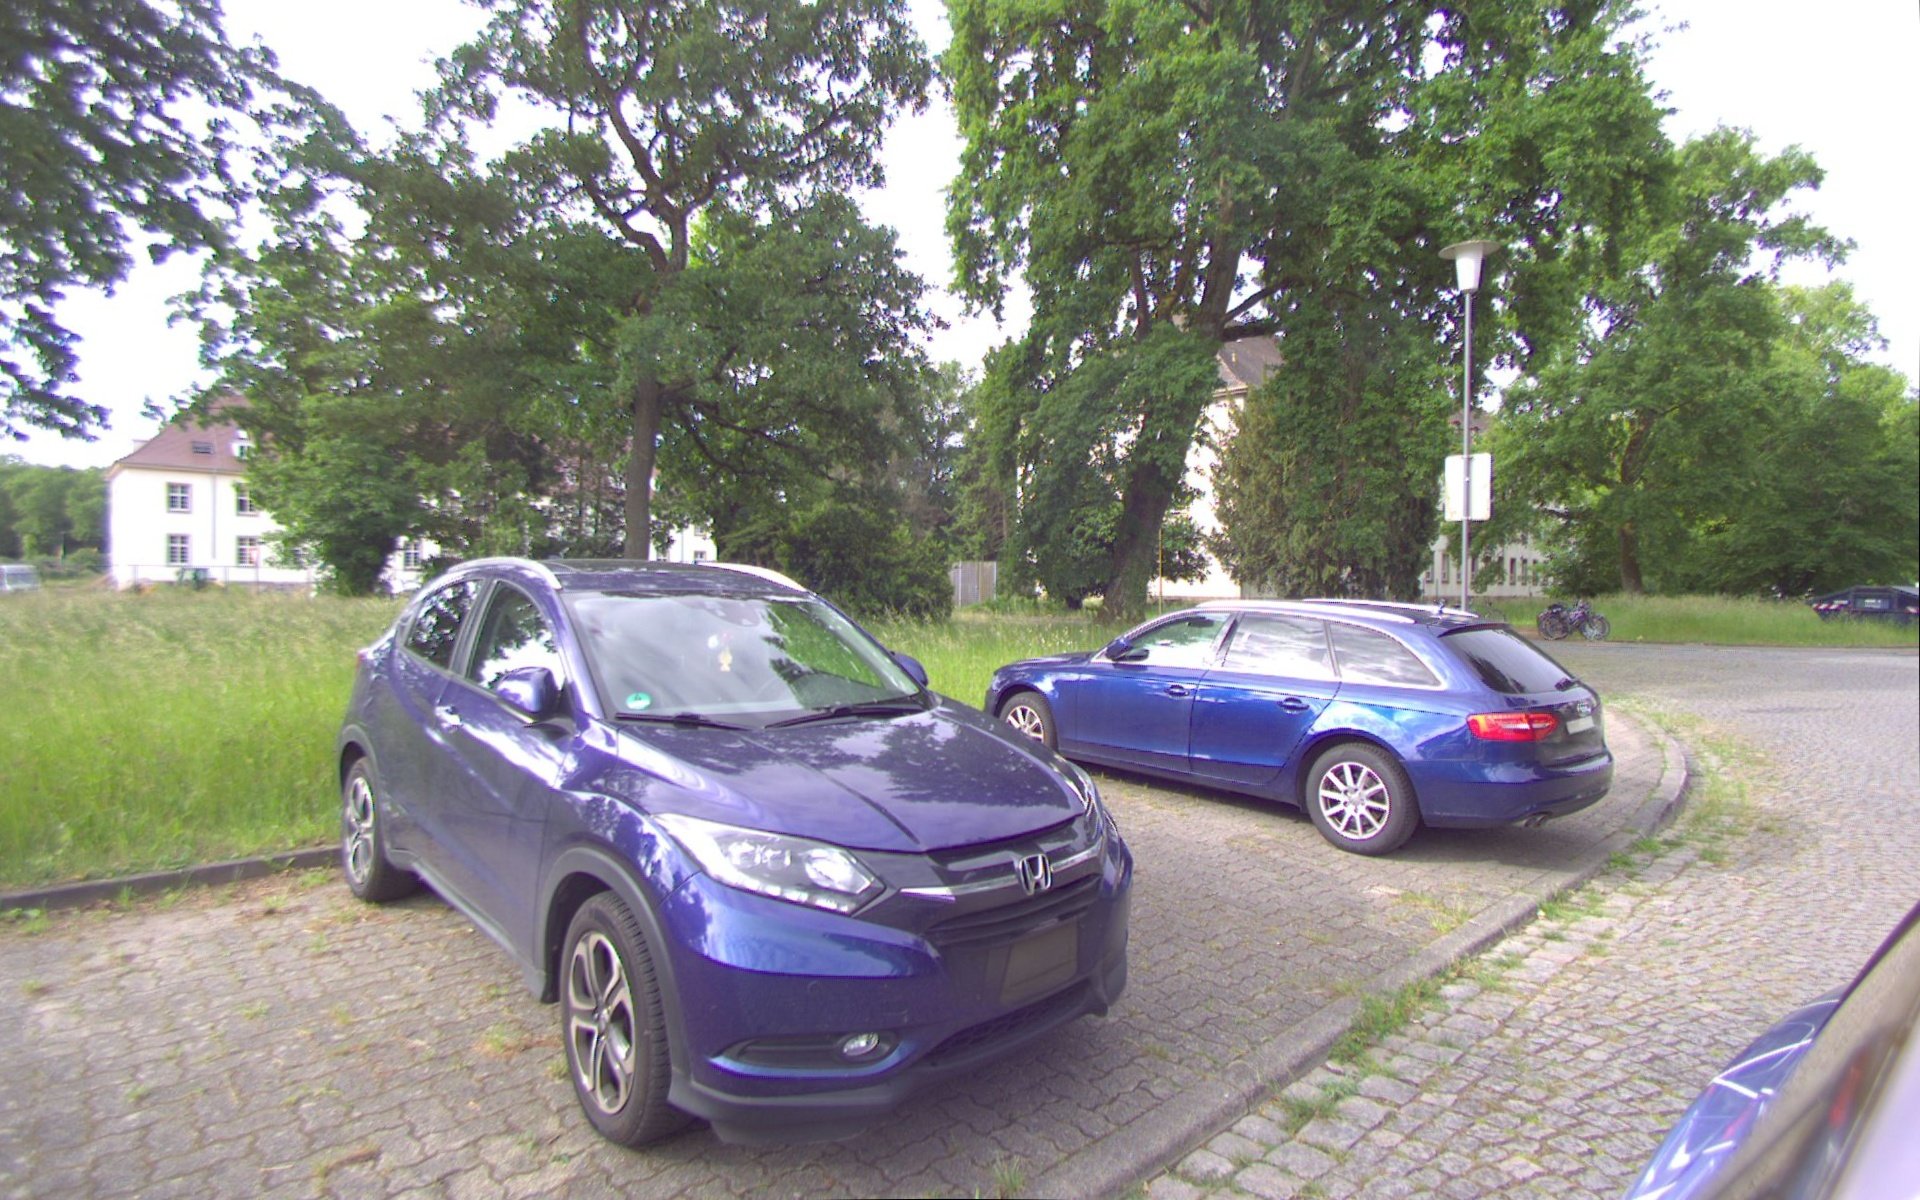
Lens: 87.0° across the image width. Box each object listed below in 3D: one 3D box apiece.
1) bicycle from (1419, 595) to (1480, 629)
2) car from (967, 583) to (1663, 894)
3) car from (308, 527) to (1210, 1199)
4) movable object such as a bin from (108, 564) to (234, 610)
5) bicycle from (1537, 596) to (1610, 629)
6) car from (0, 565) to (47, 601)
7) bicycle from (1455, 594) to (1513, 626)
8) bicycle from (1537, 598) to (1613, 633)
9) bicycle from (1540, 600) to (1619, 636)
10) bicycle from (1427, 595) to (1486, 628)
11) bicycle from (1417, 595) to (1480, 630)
[{"bbox_3d":[16.557,0.403,34.289,1.837,1.137,0.617,0,0,24],"label":"bicycle"},{"bbox_3d":[2.173,0.658,7.329,1.753,1.439,4.480,0,2,-40],"label":"car"},{"bbox_3d":[-1.239,0.586,4.214,1.763,1.591,4.167,-2,2,-43],"label":"car"},{"bbox_3d":[-48.185,-0.791,62.023,5.860,2.688,2.177,-1,0,-31],"label":"movable object such as a bin"},{"bbox_3d":[20.618,0.407,34.041,2.007,1.090,0.617,0,0,24],"label":"bicycle"},{"bbox_3d":[-62.954,-1.121,67.863,4.574,2.377,1.891,0,0,39],"label":"car"},{"bbox_3d":[19.184,0.346,37.065,1.837,1.137,0.617,0,0,24],"label":"bicycle"},{"bbox_3d":[19.528,0.483,32.175,1.948,1.090,0.584,0,0,20],"label":"bicycle"},{"bbox_3d":[18.766,0.537,30.713,1.948,1.090,0.584,0,0,20],"label":"bicycle"},{"bbox_3d":[17.481,0.383,35.690,1.837,1.137,0.617,0,0,24],"label":"bicycle"},{"bbox_3d":[16.264,0.411,33.723,1.837,1.137,0.617,0,0,24],"label":"bicycle"}]
